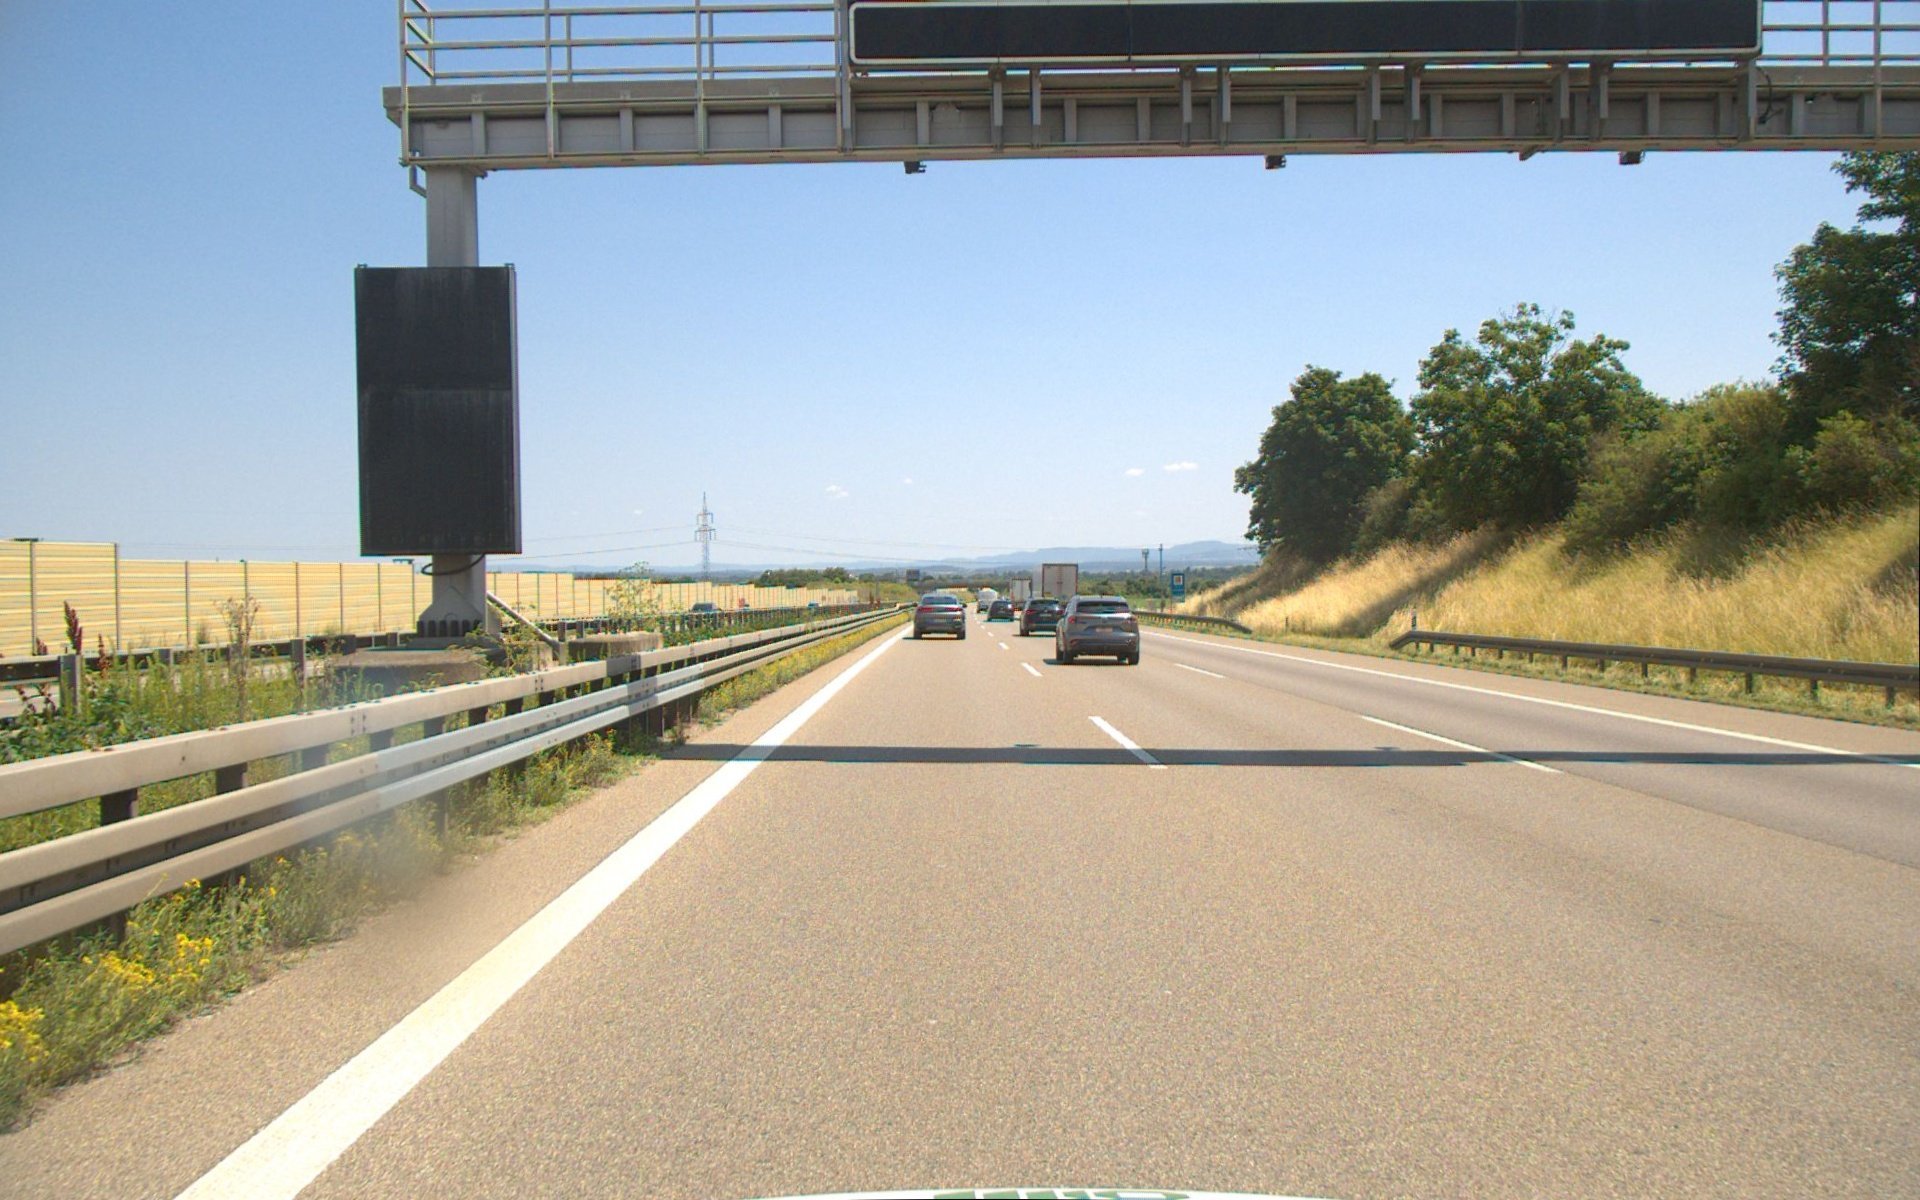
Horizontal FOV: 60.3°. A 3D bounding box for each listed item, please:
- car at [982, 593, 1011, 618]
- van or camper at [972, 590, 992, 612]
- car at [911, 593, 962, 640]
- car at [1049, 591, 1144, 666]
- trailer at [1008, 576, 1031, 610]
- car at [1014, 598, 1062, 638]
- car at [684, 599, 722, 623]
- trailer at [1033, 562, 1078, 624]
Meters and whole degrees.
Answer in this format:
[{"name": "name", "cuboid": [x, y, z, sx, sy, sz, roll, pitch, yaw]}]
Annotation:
[{"name": "car", "cuboid": [2.516, 0.401, 113.680, 1.893, 1.602, 4.935, 1, 0, 1]}, {"name": "van or camper", "cuboid": [2.329, 0.097, 173.838, 2.067, 2.250, 5.266, 1, -1, 2]}, {"name": "car", "cuboid": [-0.896, 0.631, 62.350, 1.814, 1.693, 3.734, 1, -1, -1]}, {"name": "car", "cuboid": [3.242, 0.662, 40.164, 1.814, 1.677, 4.643, 1, 0, -1]}, {"name": "trailer", "cuboid": [7.714, -0.864, 215.186, 2.882, 4.272, 13.599, 1, 0, 2]}, {"name": "car", "cuboid": [3.241, 0.745, 69.469, 1.760, 1.589, 3.822, 1, -1, -1]}, {"name": "car", "cuboid": [-17.766, 0.750, 114.501, 1.858, 1.597, 5.246, -2, 0, -1]}, {"name": "trailer", "cuboid": [7.028, -0.445, 123.602, 2.808, 4.294, 13.295, 1, 0, 1]}]
